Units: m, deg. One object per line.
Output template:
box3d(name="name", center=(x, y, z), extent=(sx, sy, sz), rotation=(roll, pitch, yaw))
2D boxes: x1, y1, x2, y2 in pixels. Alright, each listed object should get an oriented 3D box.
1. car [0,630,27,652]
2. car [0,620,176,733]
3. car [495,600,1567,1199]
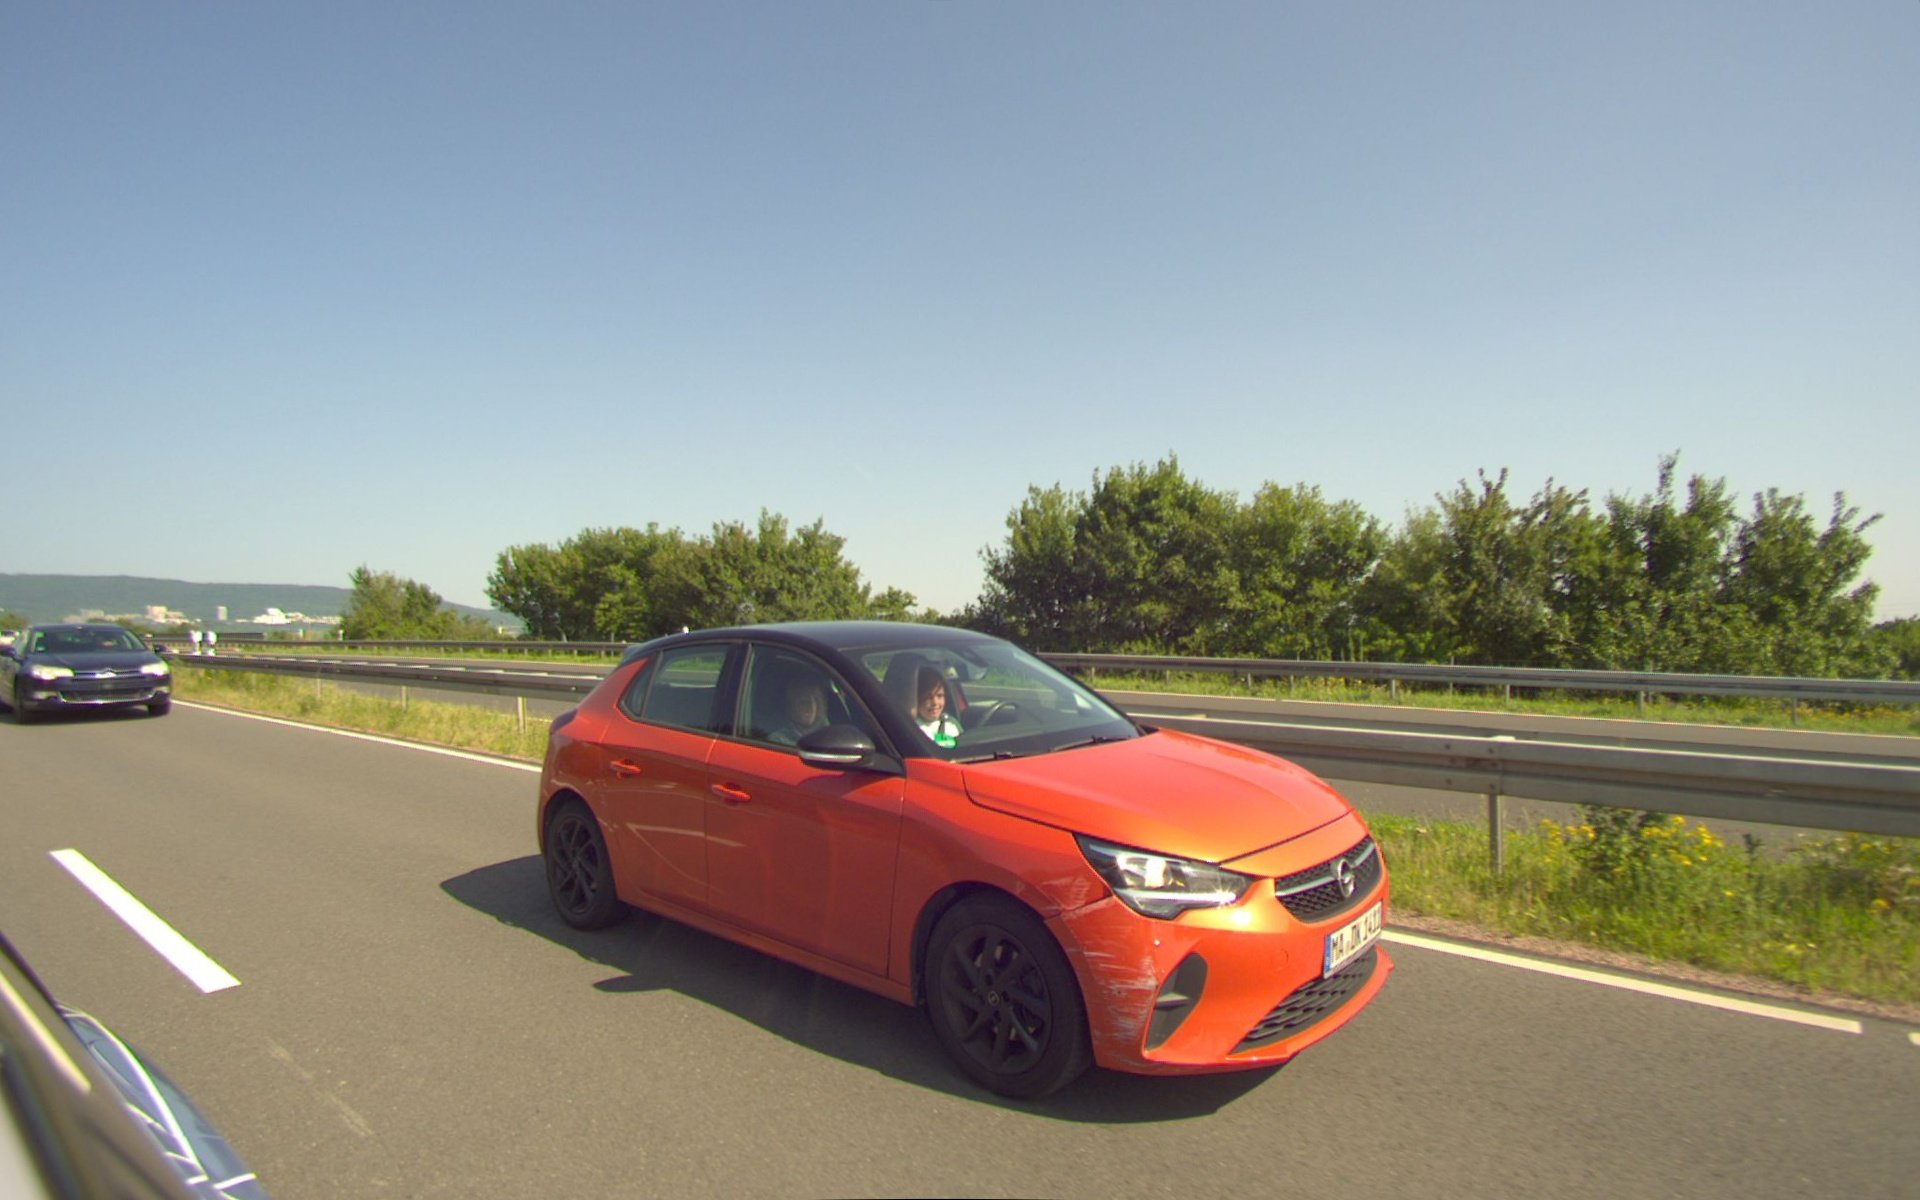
box3d(name="car", center=(-74.645, 3.173, 78.910), extent=(4.619, 1.632, 1.885), rotation=(-2, -1, 36))
box3d(name="car", center=(-14.140, 1.152, 16.092), extent=(4.371, 1.545, 1.766), rotation=(-3, -2, 40))
box3d(name="car", center=(-0.132, 0.778, 4.293), extent=(4.409, 1.448, 1.691), rotation=(-2, -1, 41))
